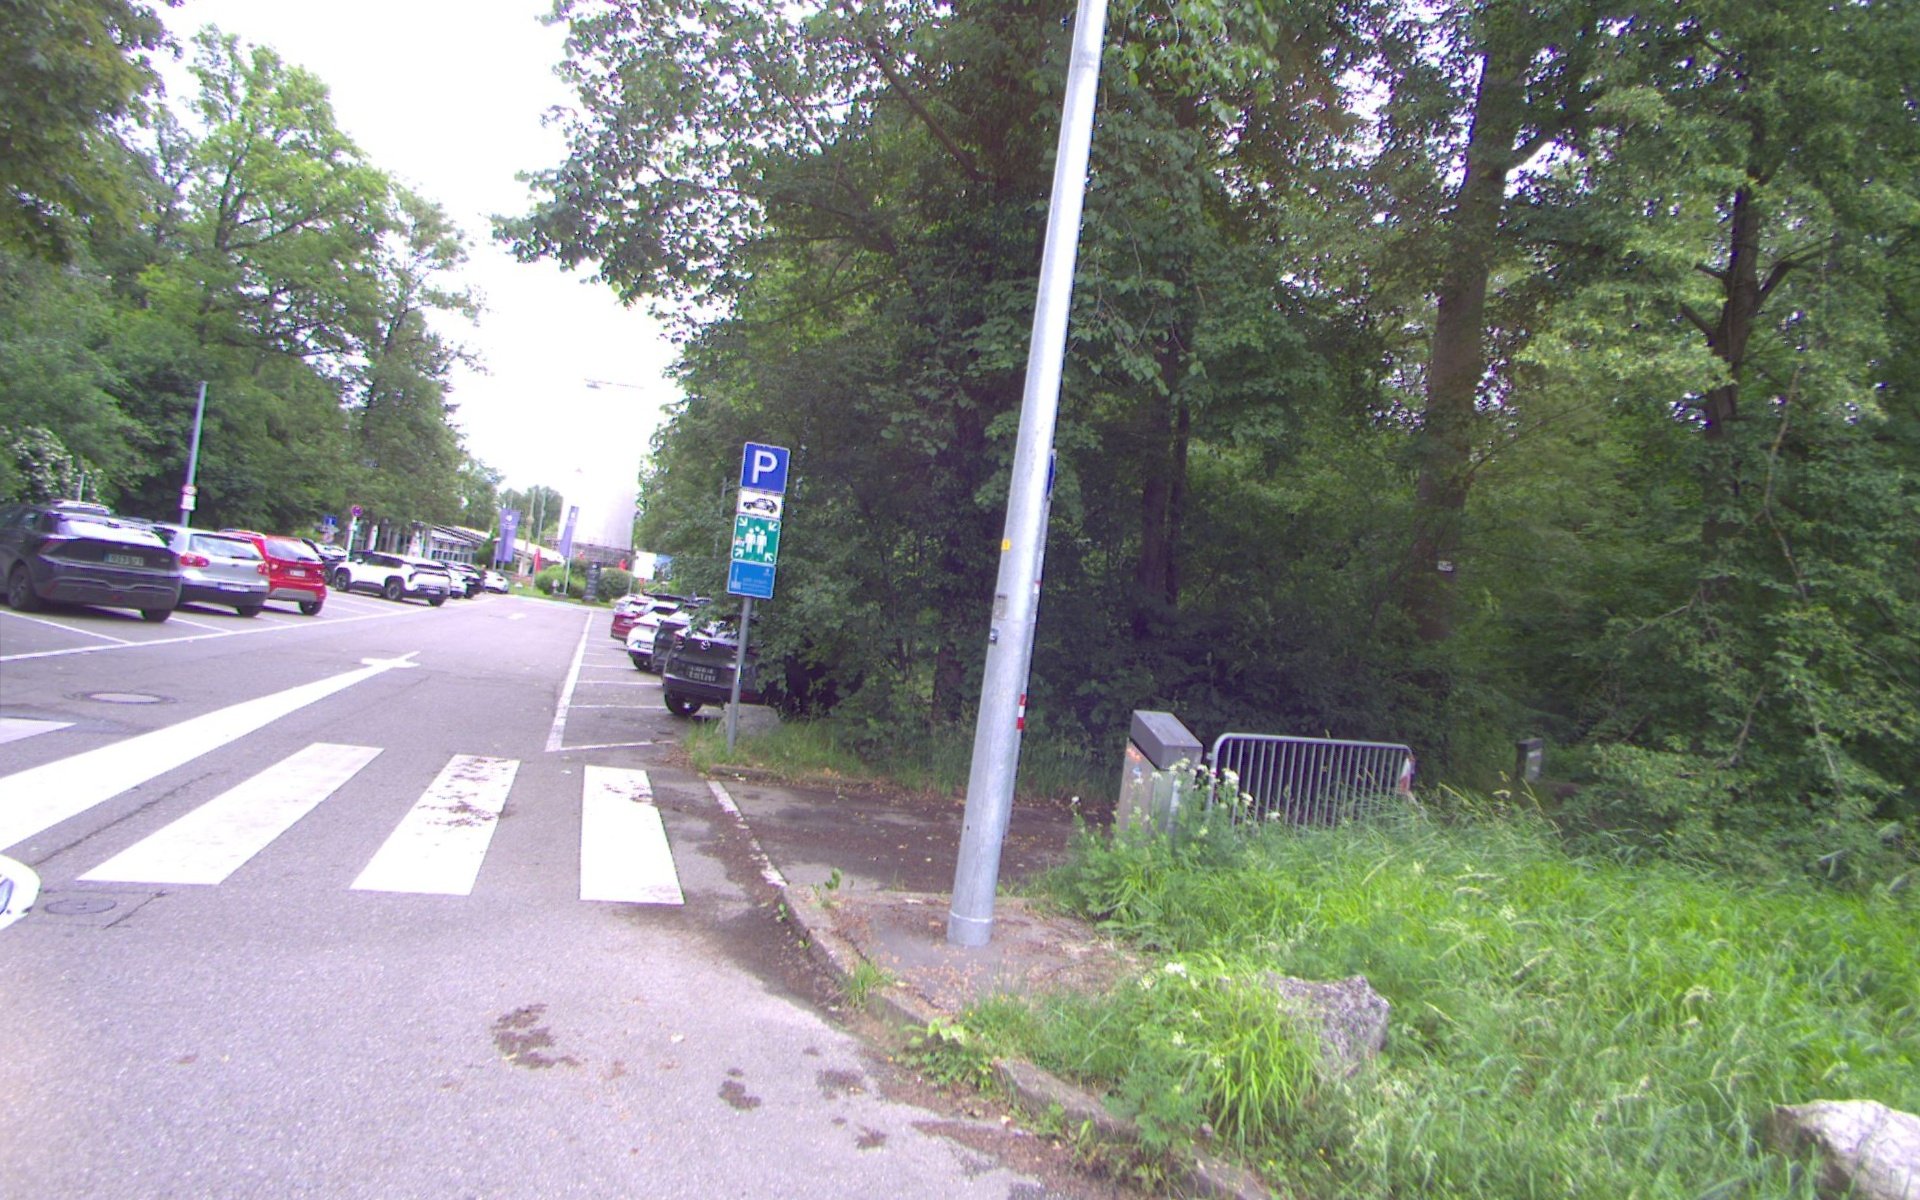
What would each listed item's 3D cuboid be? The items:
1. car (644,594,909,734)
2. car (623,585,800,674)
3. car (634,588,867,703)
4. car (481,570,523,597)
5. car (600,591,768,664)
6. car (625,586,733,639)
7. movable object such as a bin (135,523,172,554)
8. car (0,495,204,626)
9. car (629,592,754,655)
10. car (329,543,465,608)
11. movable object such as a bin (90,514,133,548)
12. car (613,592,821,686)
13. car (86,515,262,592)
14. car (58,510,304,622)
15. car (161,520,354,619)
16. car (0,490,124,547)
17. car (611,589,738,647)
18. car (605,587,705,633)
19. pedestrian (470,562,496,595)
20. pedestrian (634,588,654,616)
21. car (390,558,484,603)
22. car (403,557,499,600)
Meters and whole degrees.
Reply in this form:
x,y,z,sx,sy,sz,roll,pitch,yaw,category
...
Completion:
x,y,z,sx,sy,sz,roll,pitch,yaw,category
-2.407,0.962,14.212,1.669,1.508,3.794,7,-3,25,car
-6.037,0.789,24.916,1.810,1.636,4.119,7,-3,29,car
-3.624,0.911,18.266,1.922,1.597,4.206,7,-3,24,car
-29.483,-1.055,64.839,1.872,1.444,3.986,9,-2,-18,car
-7.528,0.818,27.881,1.895,1.429,4.294,7,-3,30,car
-11.916,0.571,42.921,1.930,1.655,4.263,7,-2,26,car
-40.738,-3.093,50.800,1.168,1.330,1.123,7,-2,41,movable object such as a bin
-13.728,-0.681,15.360,4.029,1.540,1.830,7,-2,28,car
-8.457,0.797,31.931,1.705,1.522,3.582,7,-2,28,car
-19.624,-0.850,35.072,4.114,1.615,1.847,7,-2,23,car
-41.775,-3.384,49.555,1.110,1.442,1.127,8,-1,-16,movable object such as a bin
-4.989,0.891,21.217,1.837,1.454,4.119,7,-3,29,car
-21.593,-1.278,27.645,4.237,1.458,1.870,7,-2,23,car
-14.720,-0.640,19.027,3.927,1.500,1.878,7,-2,23,car
-15.441,-0.670,22.115,3.588,1.603,1.688,7,-2,23,car
-39.339,-3.524,43.748,1.847,1.704,4.072,7,-3,27,car
-9.819,0.675,34.883,1.773,1.474,4.187,7,-2,26,car
-13.615,0.466,45.141,1.804,1.484,3.997,7,-2,30,car
-27.997,-1.252,59.033,0.751,1.744,0.897,7,-1,27,pedestrian
-20.997,0.146,66.808,0.750,1.744,0.898,8,-1,8,pedestrian
-23.737,-0.902,45.665,3.778,1.460,1.773,7,-2,26,car
-24.647,-1.039,48.686,4.201,1.460,1.760,7,-2,24,car
